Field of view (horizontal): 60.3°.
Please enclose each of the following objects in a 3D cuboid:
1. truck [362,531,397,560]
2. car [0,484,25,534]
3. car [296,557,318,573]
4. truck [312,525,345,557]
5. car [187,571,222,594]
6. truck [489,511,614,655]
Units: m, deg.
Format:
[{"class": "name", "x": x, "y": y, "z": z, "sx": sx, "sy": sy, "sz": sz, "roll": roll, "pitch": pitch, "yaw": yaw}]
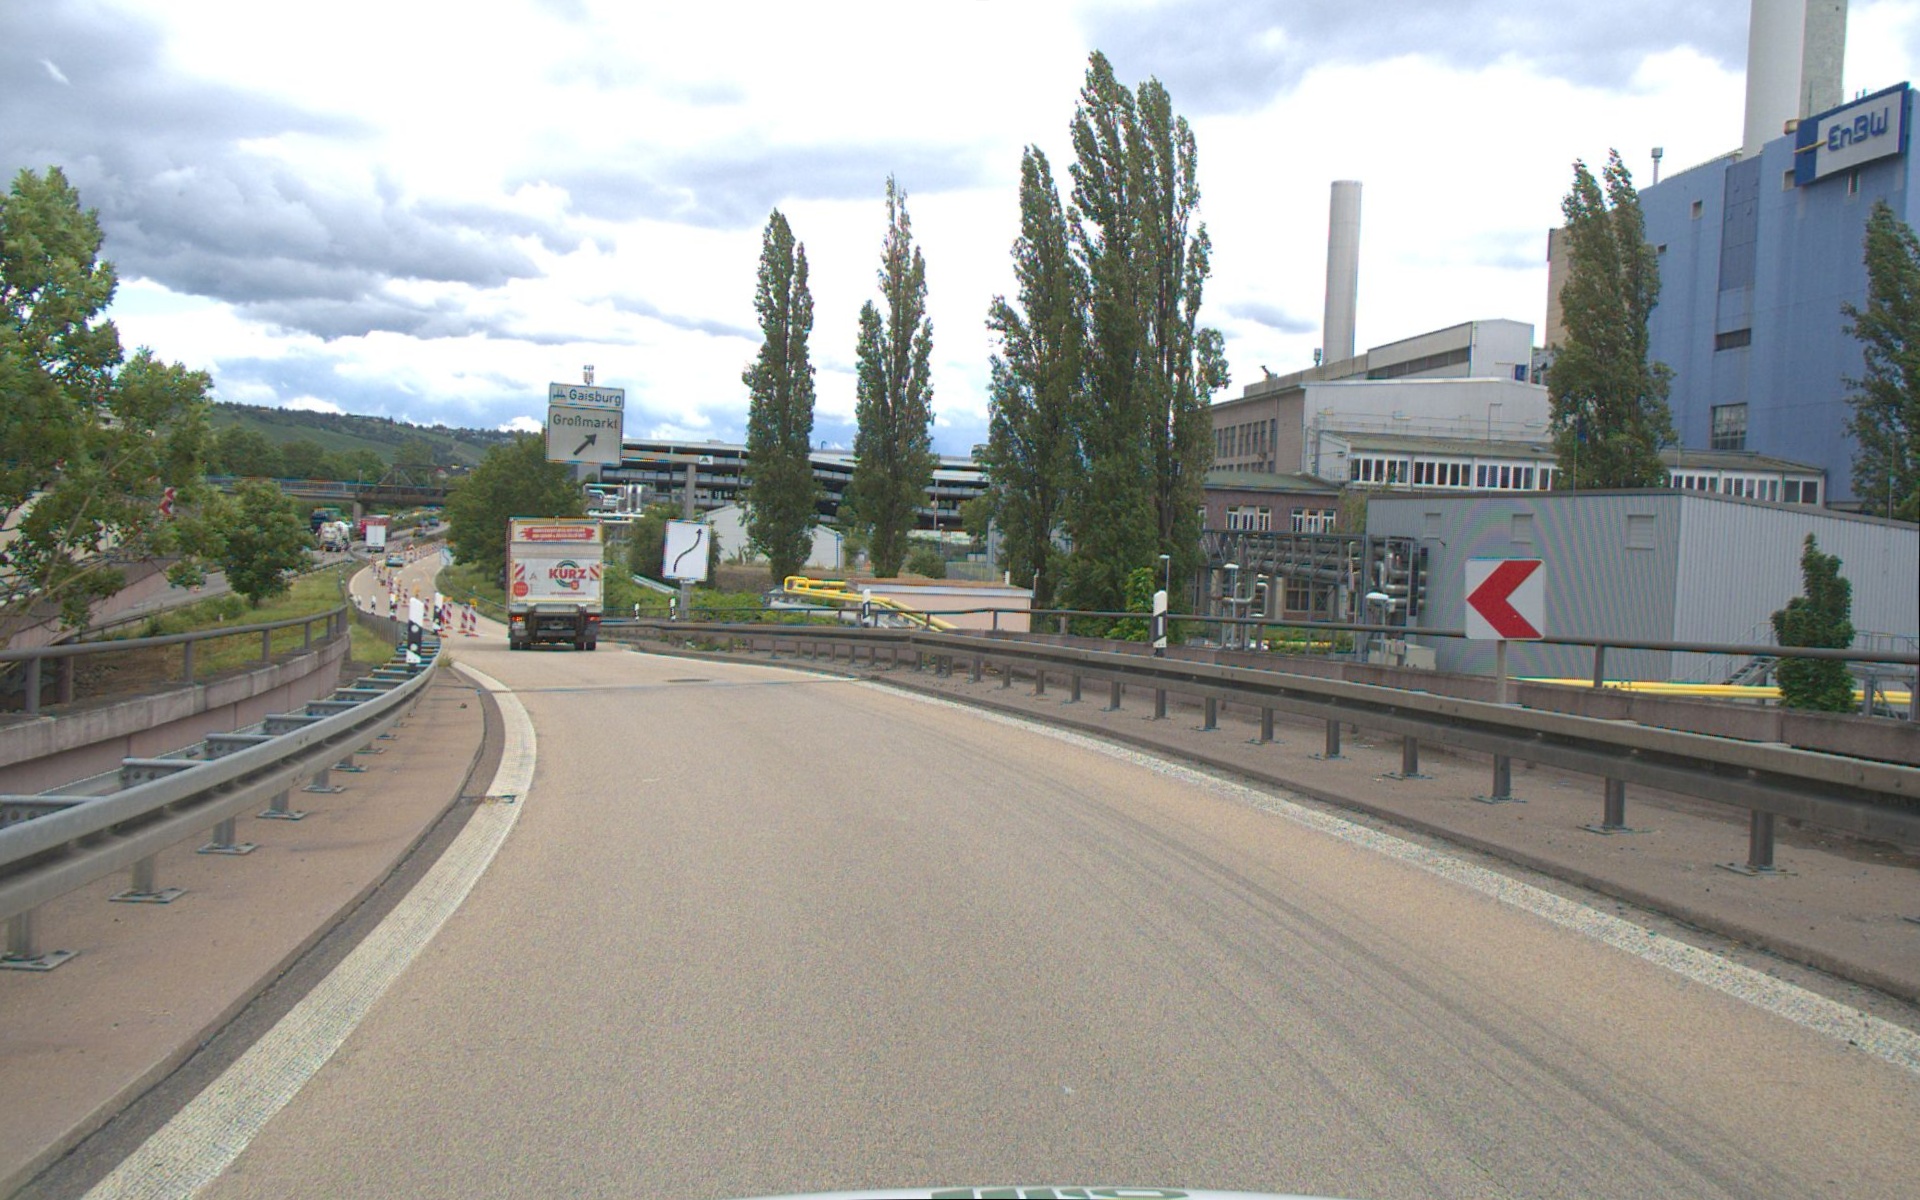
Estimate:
[{"class": "truck", "x": -75.716, "y": -7.132, "z": 215.708, "sx": 3.229, "sy": 3.662, "sz": 7.643, "roll": 2, "pitch": 2, "yaw": -12}, {"class": "car", "x": -39.249, "y": -3.694, "z": 66.875, "sx": 1.966, "sy": 1.803, "sz": 3.973, "roll": 1, "pitch": -1, "yaw": -22}, {"class": "car", "x": -74.158, "y": -3.969, "z": 187.824, "sx": 1.962, "sy": 1.646, "sz": 3.983, "roll": 2, "pitch": 2, "yaw": -17}, {"class": "truck", "x": -80.109, "y": -7.527, "z": 209.929, "sx": 3.234, "sy": 3.919, "sz": 7.631, "roll": 2, "pitch": 2, "yaw": -17}, {"class": "car", "x": -61.535, "y": -1.418, "z": 134.797, "sx": 1.962, "sy": 1.646, "sz": 3.983, "roll": 2, "pitch": 2, "yaw": -17}, {"class": "truck", "x": -12.048, "y": -0.445, "z": 48.297, "sx": 3.003, "sy": 3.737, "sz": 7.889, "roll": 2, "pitch": -1, "yaw": -17}]
